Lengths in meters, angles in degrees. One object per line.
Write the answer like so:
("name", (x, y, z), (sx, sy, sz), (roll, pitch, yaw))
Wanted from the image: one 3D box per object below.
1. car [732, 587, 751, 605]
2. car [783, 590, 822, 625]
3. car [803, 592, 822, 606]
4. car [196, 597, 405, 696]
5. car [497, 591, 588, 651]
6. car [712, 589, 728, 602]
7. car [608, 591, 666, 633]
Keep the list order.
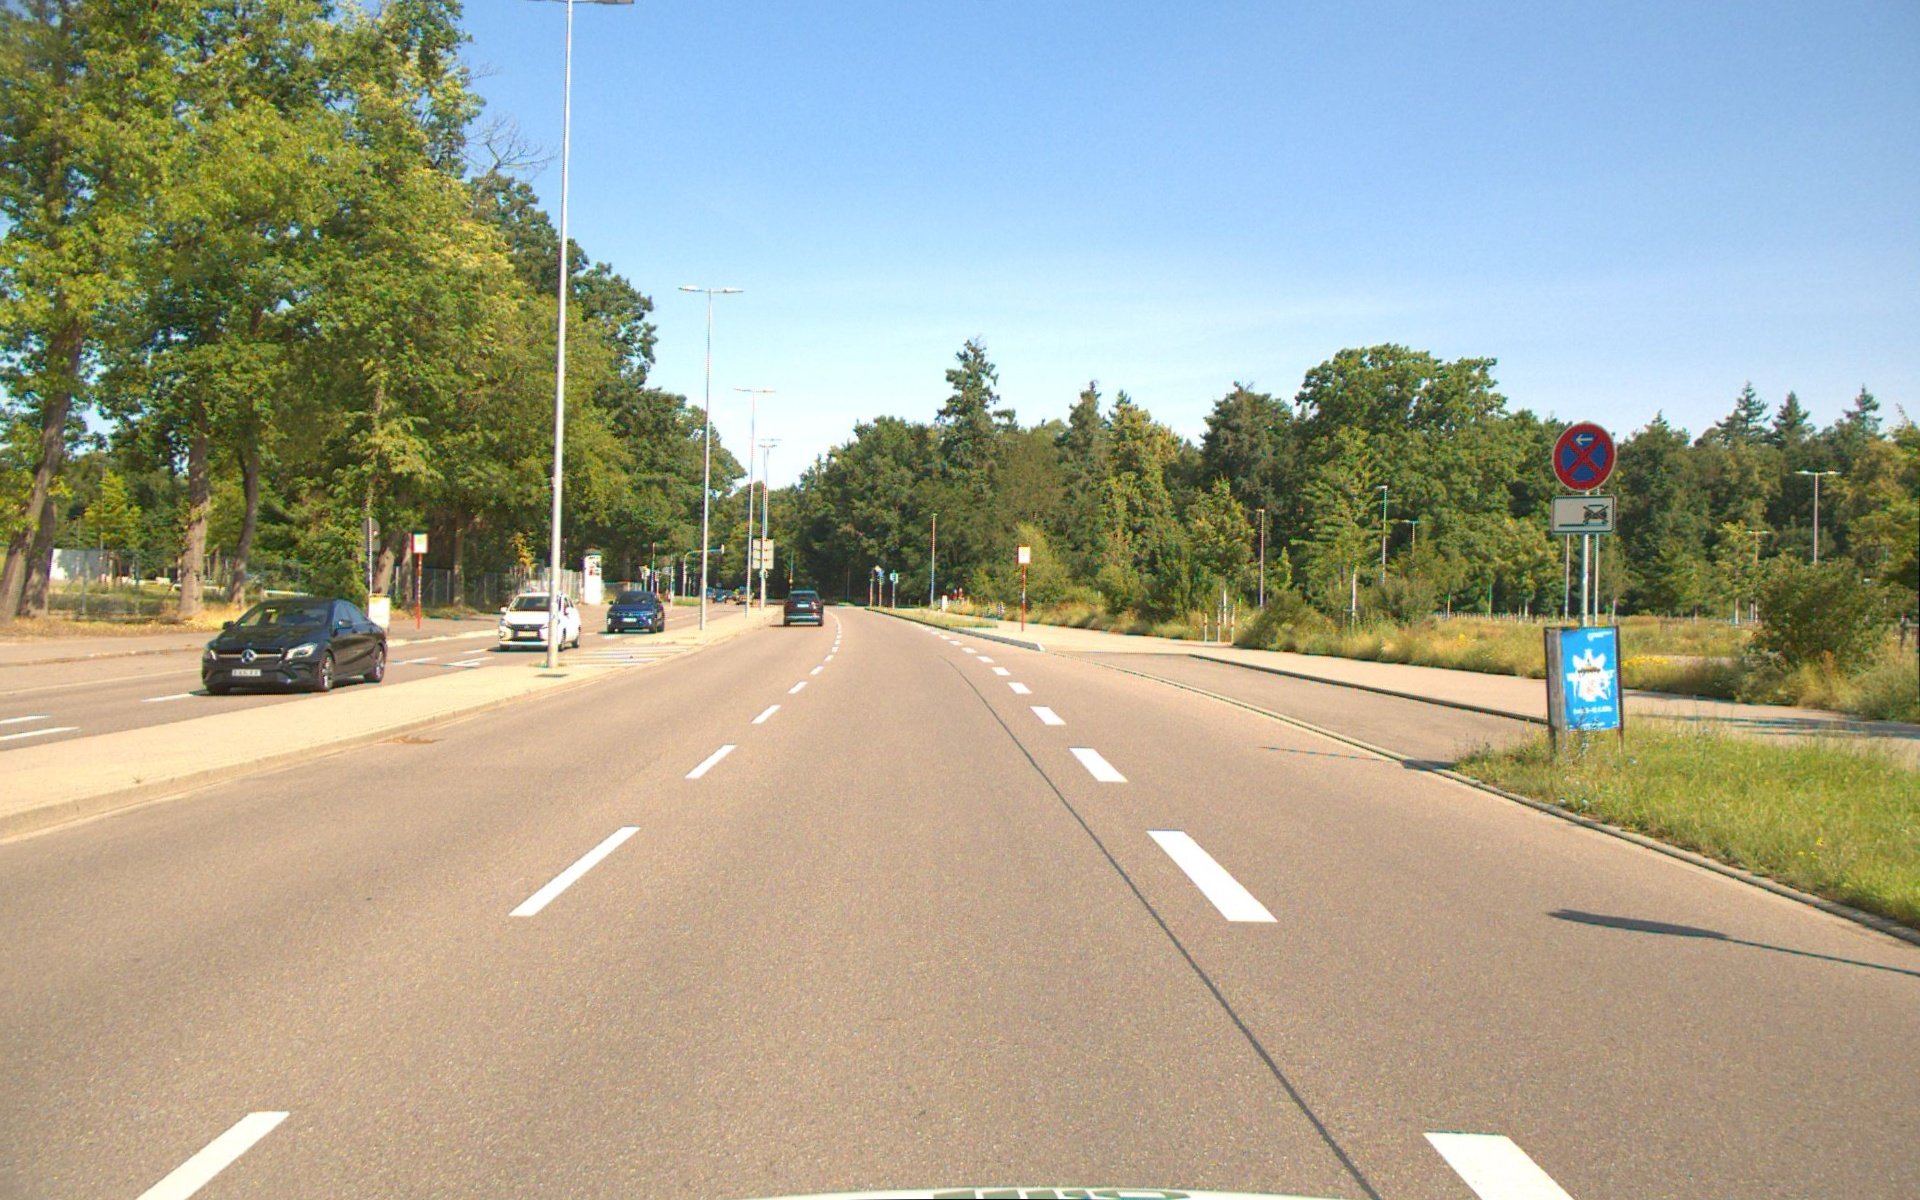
("car", (-23.916, -0.405, 181.053), (1.805, 1.966, 4.624), (0, 0, -5))
("car", (-7.199, 0.317, 75.340), (1.656, 1.571, 4.142), (0, 0, -7))
("car", (-16.133, -0.081, 181.048), (1.904, 1.445, 4.286), (1, 0, -8))
("car", (-10.391, 0.675, 26.399), (1.774, 1.412, 4.160), (-1, 0, -2))
("car", (-10.993, 0.514, 43.746), (1.590, 1.492, 3.798), (-1, 0, -3))
("car", (-29.312, -0.551, 202.246), (1.760, 1.504, 3.994), (2, 0, -7))
("car", (-12.051, 0.433, 61.832), (1.719, 1.512, 3.943), (-1, 0, -5))
